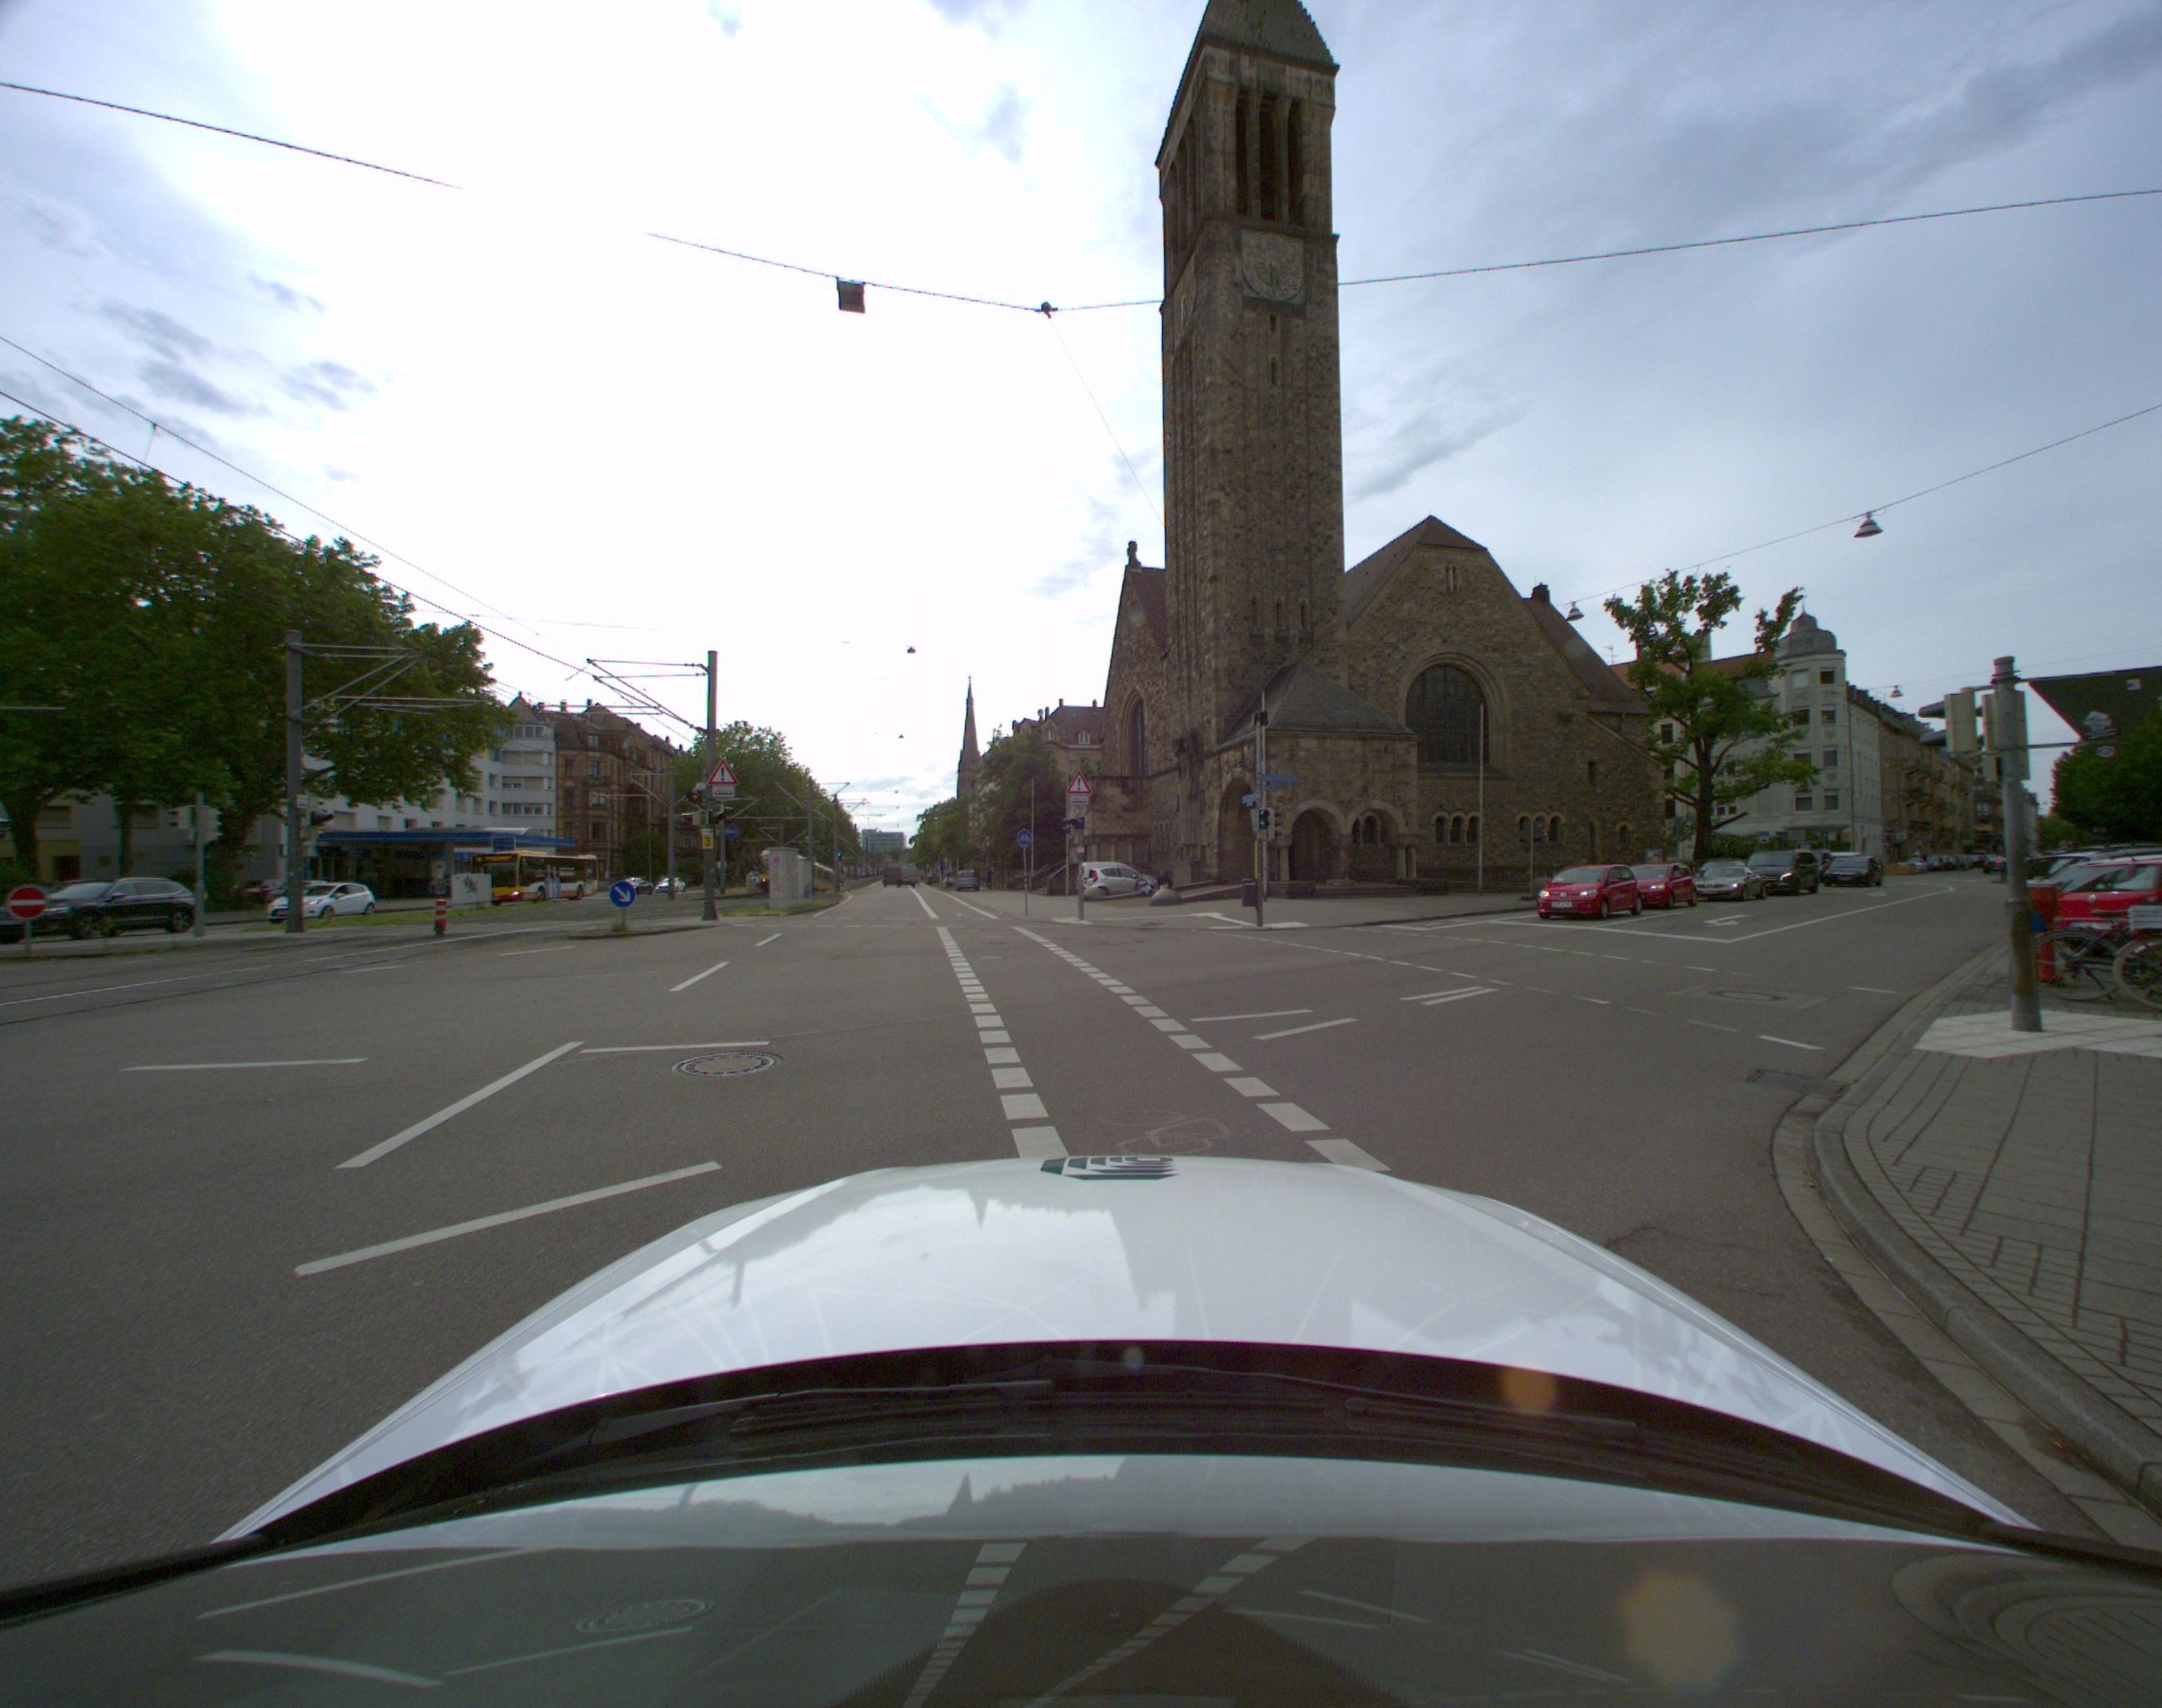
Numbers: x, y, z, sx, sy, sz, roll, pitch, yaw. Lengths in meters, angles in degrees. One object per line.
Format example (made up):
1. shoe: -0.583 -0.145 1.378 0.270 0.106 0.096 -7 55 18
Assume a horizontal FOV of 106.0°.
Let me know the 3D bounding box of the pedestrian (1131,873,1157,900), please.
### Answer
1. pedestrian: 2.841 1.483 36.847 0.737 1.192 1.486 1 -2 -12

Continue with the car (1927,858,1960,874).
1. car: 89.123 1.212 84.137 3.961 1.617 1.928 1 -1 -38

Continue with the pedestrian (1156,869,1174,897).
1. pedestrian: 3.820 1.321 37.154 0.734 1.229 1.063 0 -2 2

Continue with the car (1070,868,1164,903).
1. car: 1.769 1.550 40.082 4.353 1.636 1.655 1 -2 -13

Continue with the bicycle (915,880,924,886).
1. bicycle: -20.275 3.640 102.290 0.613 0.655 2.362 1 -2 -24

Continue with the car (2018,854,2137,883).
1. car: 61.894 0.903 50.680 4.238 1.579 1.872 -3 -3 19

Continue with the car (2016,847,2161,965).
1. car: 16.215 0.663 11.428 3.802 1.562 1.798 -2 -3 6

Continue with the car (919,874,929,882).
1. car: -34.733 5.316 180.516 1.996 1.926 3.981 1 -2 -14

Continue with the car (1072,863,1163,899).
1. car: 1.953 1.441 43.654 4.615 1.881 1.655 1 -2 -13

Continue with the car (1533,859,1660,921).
1. car: 14.284 0.971 22.508 3.912 1.528 1.635 -1 -3 -38

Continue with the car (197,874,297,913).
1. car: -46.663 2.161 45.701 1.995 2.014 3.982 -1 -1 -13

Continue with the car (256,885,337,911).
1. car: -44.195 2.463 45.967 1.704 1.359 3.389 1 -2 -12

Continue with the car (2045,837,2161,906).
1. car: 32.809 0.466 24.711 4.241 1.907 1.885 -4 -3 11

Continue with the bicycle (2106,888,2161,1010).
1. bicycle: 10.484 0.845 7.280 0.478 1.127 1.554 2 -6 -38

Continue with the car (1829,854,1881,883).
1. car: 54.006 0.955 56.829 4.567 1.939 1.829 0 -1 -36

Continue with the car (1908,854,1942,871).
1. car: 83.242 0.865 80.341 3.961 1.617 1.928 1 -1 -38

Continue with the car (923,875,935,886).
1. car: -26.742 4.611 143.363 1.995 1.882 3.982 0 -1 -13

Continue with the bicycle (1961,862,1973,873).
1. bicycle: 88.147 1.343 81.031 1.995 1.087 0.563 0 -1 -37

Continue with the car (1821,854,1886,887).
1. car: 41.475 0.875 43.707 4.569 1.684 1.830 0 -1 -38

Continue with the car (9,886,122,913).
1. car: -55.092 2.457 44.293 1.703 1.359 3.874 1 -2 -12

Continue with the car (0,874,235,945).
1. car: -27.110 1.464 23.048 1.703 1.783 5.128 1 -2 -12

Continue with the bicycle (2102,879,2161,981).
1. bicycle: 12.920 0.849 9.253 0.478 1.173 1.554 2 -6 -38

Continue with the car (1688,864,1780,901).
1. car: 24.498 1.057 30.512 4.060 1.287 1.691 1 -4 -37

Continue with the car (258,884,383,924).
1. car: -29.161 1.895 31.395 1.703 1.398 3.874 1 -2 -12

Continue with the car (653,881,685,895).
1. car: -38.556 3.168 76.331 1.703 1.221 3.874 1 -2 -12

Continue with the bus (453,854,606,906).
1. bus: -33.621 1.585 50.521 3.284 2.857 12.328 1 -2 -12

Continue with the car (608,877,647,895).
1. car: -37.111 2.614 66.744 1.703 1.359 3.874 1 -2 -12

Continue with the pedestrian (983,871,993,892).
1. pedestrian: -7.503 2.192 65.453 0.775 1.647 0.796 1 -2 -7

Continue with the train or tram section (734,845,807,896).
1. train or tram section: -27.863 1.550 74.038 3.644 4.093 14.979 1 -2 -11

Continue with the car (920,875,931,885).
1. car: -30.790 5.103 161.285 1.996 2.014 3.981 1 -2 -14

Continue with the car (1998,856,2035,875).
1. car: 83.017 1.045 72.268 4.019 1.681 1.977 2 -2 -39

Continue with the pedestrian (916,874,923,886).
1. pedestrian: -20.326 3.239 102.486 0.654 1.474 0.646 0 -2 -23

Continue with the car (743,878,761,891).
1. car: -46.546 4.294 115.207 1.703 1.712 3.874 1 -2 -12

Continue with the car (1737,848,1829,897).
1. car: 29.903 0.734 34.626 5.308 1.955 1.896 0 -1 -38

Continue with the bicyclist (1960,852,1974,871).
1. bicyclist: 88.215 0.752 81.087 0.717 1.866 0.776 0 -1 -36

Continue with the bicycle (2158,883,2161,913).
1. bicycle: 11.526 0.800 7.679 0.478 1.127 1.554 2 -6 -38

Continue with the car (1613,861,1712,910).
1. car: 18.779 1.018 26.255 3.736 1.457 1.588 1 -4 -39

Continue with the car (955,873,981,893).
1. car: -8.828 2.250 63.466 1.703 1.459 3.874 1 -2 -12

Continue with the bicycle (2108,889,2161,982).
1. bicycle: 12.591 0.876 8.835 0.478 1.039 1.718 2 -6 -38

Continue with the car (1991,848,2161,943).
1. car: 20.481 0.739 15.207 4.177 1.683 1.925 -2 -3 18

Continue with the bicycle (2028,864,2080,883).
1. bicycle: 56.260 1.134 47.119 0.615 1.043 1.867 2 -4 -40

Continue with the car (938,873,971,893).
1. car: -11.395 2.576 73.204 2.208 1.746 5.003 0 -1 -18

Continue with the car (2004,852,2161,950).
1. car: 18.340 0.711 13.494 3.553 1.509 1.854 -4 -4 11

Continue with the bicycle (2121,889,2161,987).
1. bicycle: 12.134 0.856 8.361 0.478 1.039 1.718 2 -6 -38
